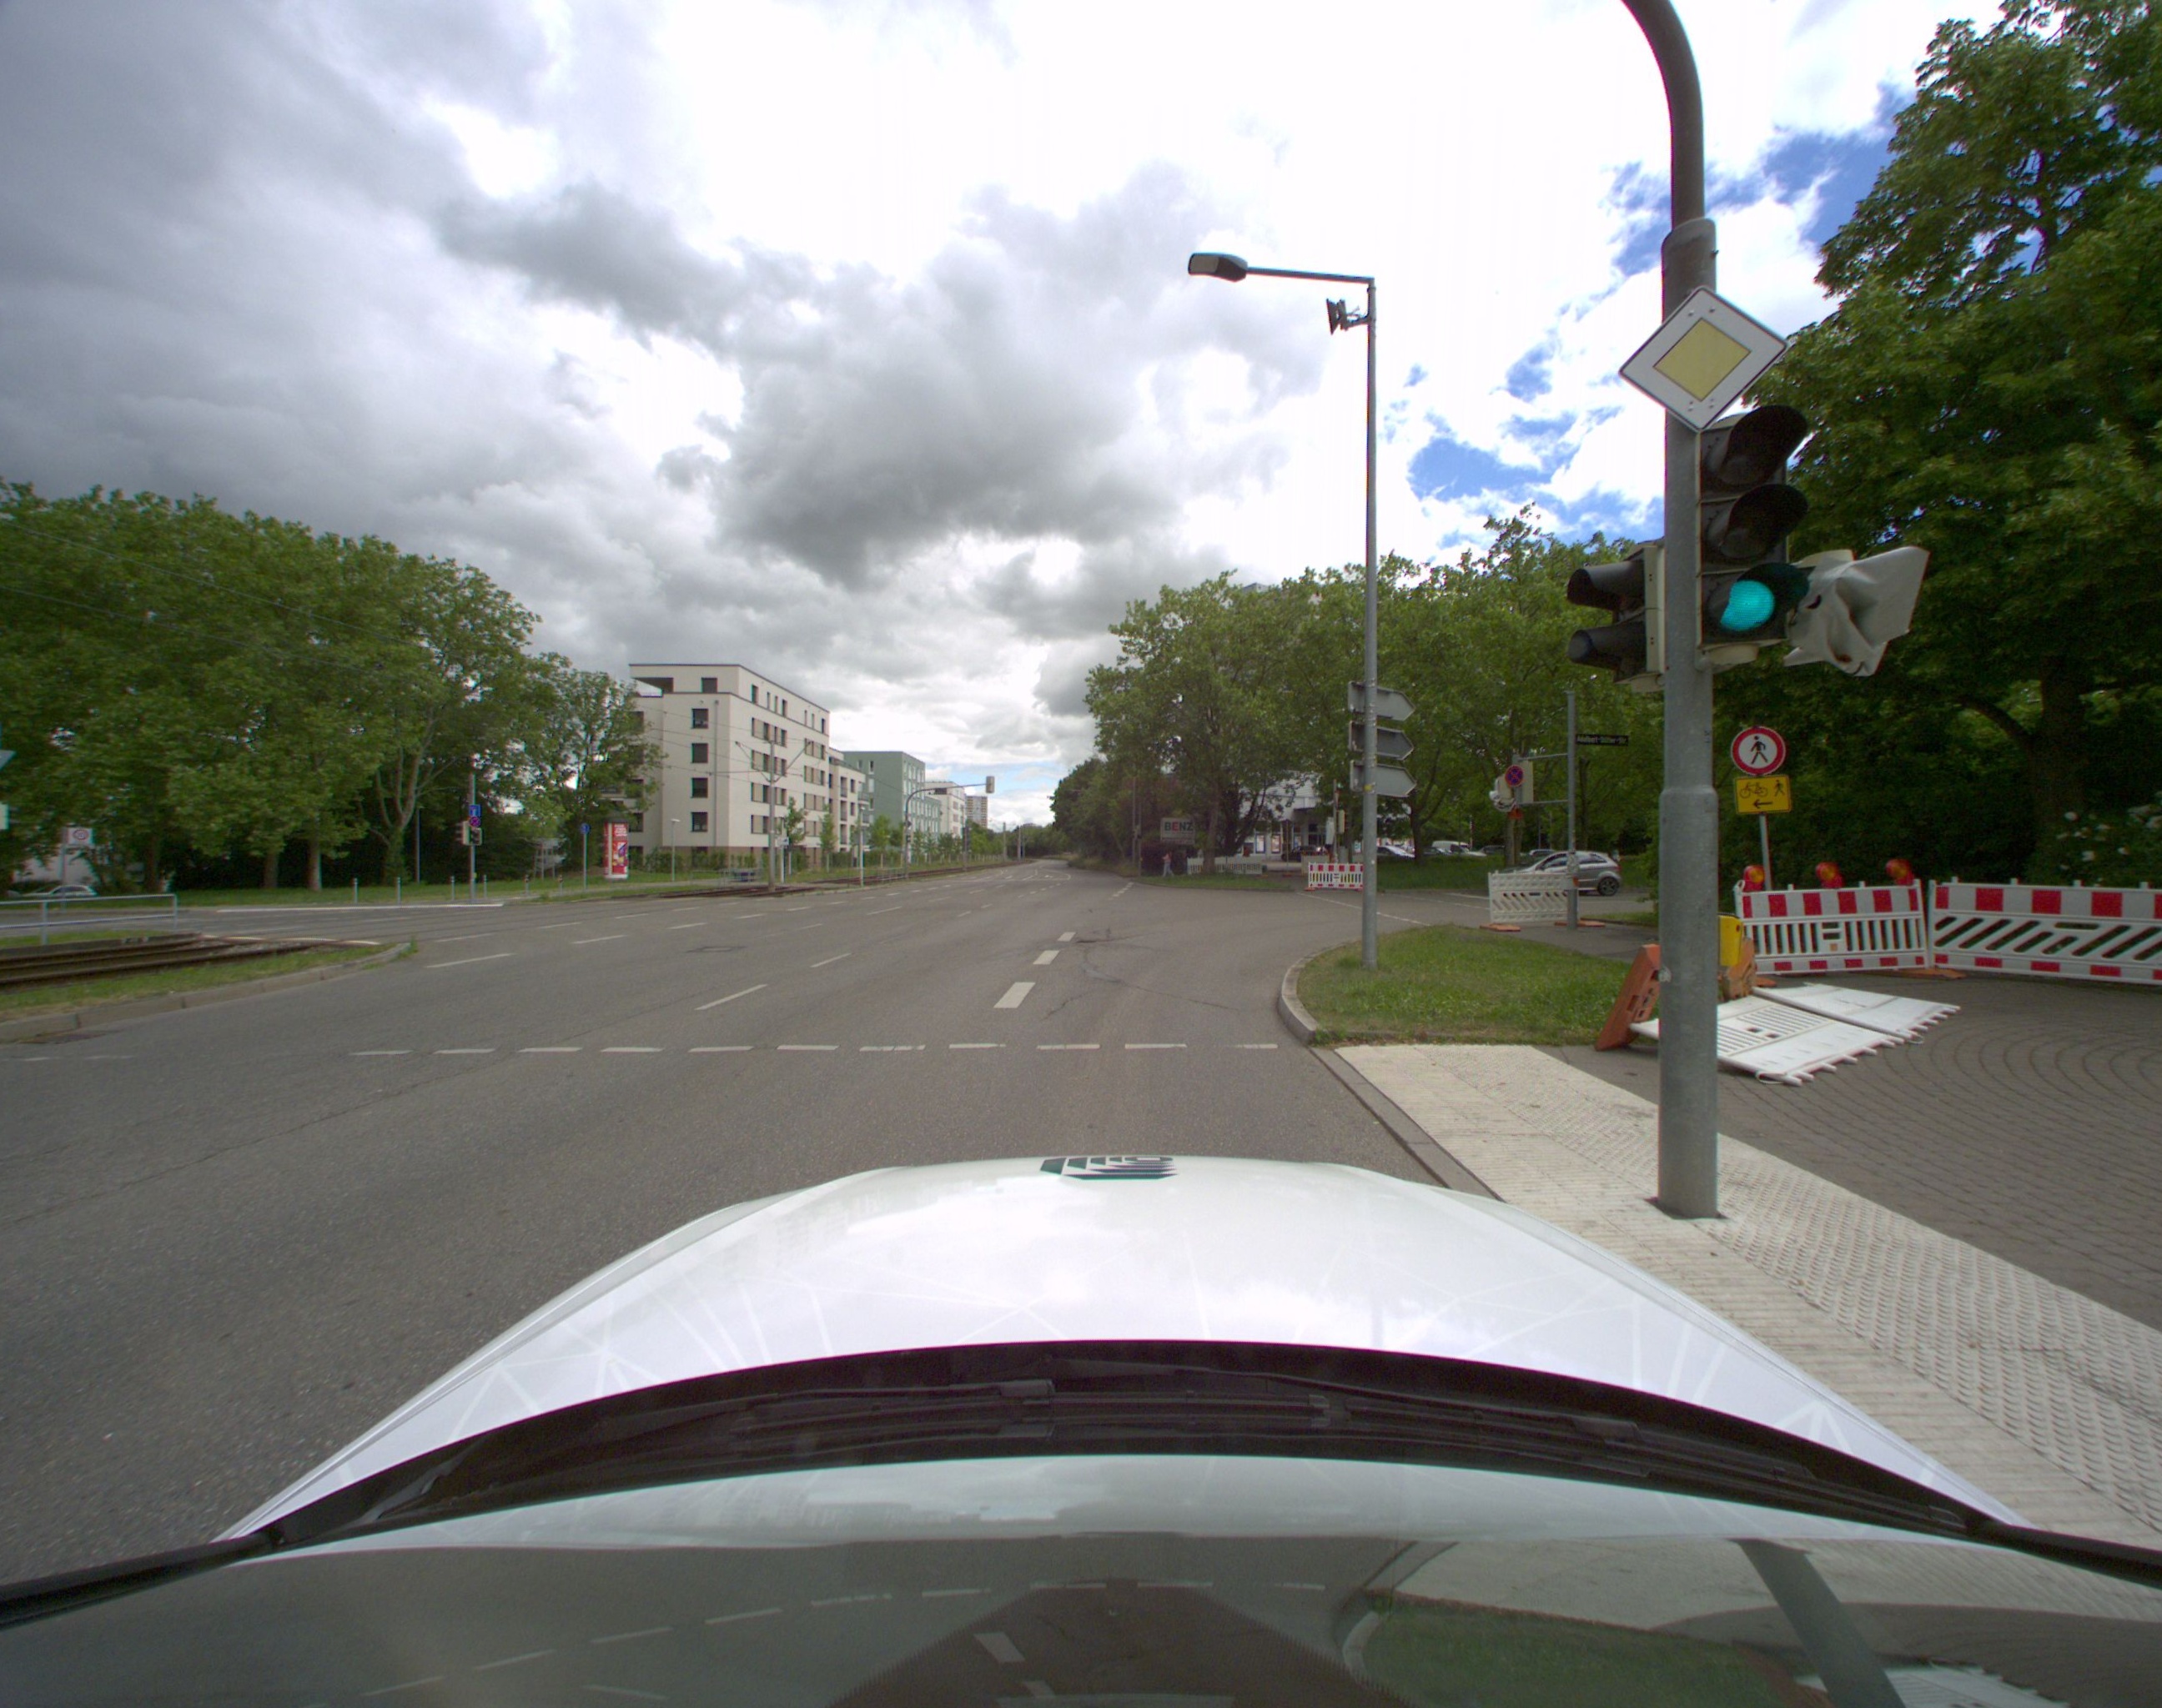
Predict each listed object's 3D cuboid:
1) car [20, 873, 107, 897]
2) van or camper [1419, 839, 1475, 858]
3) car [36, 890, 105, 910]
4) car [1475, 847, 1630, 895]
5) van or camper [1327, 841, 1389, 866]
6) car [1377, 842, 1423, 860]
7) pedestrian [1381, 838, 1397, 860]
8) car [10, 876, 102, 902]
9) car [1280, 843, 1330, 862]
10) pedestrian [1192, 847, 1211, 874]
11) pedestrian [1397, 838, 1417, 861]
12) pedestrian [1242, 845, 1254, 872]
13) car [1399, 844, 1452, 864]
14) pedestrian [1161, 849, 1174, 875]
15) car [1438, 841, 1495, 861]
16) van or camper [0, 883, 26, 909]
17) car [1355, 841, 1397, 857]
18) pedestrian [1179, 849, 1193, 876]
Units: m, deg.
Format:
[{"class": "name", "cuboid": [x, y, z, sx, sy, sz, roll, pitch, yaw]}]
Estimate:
[{"class": "car", "cuboid": [-77.251, 2.320, 61.864, 1.644, 1.729, 3.807, -1, -1, 25]}, {"class": "van or camper", "cuboid": [27.894, -0.382, 62.136, 1.522, 1.356, 3.739, 0, -1, -30]}, {"class": "car", "cuboid": [-79.877, 3.637, 64.435, 1.429, 1.344, 3.158, -1, 0, 25]}, {"class": "car", "cuboid": [16.425, 0.591, 28.532, 4.378, 1.586, 1.774, 0, -1, 3]}, {"class": "van or camper", "cuboid": [19.314, -0.023, 56.943, 1.849, 1.684, 3.968, -1, 0, -24]}, {"class": "car", "cuboid": [29.144, -0.311, 74.463, 1.677, 1.634, 3.788, 0, 0, -27]}, {"class": "pedestrian", "cuboid": [22.699, -0.348, 60.015, 0.792, 1.586, 0.798, 0, -1, -6]}, {"class": "car", "cuboid": [-72.339, 2.450, 57.573, 1.690, 1.648, 3.808, 0, 0, -1]}, {"class": "car", "cuboid": [18.528, -0.076, 67.510, 1.736, 1.500, 4.235, 0, -1, -23]}, {"class": "pedestrian", "cuboid": [6.924, 0.376, 46.969, 0.849, 1.586, 0.792, 0, -1, -13]}, {"class": "pedestrian", "cuboid": [26.939, -0.351, 67.260, 1.076, 1.871, 1.052, 0, -1, -20]}, {"class": "pedestrian", "cuboid": [9.783, 0.269, 47.626, 0.649, 1.539, 0.775, -1, -1, 10]}, {"class": "car", "cuboid": [25.197, -0.001, 59.643, 1.488, 1.404, 3.379, 0, -1, -26]}, {"class": "pedestrian", "cuboid": [4.862, 0.460, 45.937, 0.693, 1.489, 0.689, -1, -1, 8]}, {"class": "car", "cuboid": [29.959, -0.203, 63.387, 1.488, 1.465, 3.857, 0, -1, -28]}, {"class": "van or camper", "cuboid": [-67.159, 2.617, 48.561, 1.850, 1.533, 5.011, -1, 0, 3]}, {"class": "car", "cuboid": [26.409, -0.446, 72.914, 1.488, 1.404, 3.377, 0, -1, -28]}, {"class": "pedestrian", "cuboid": [5.924, 0.466, 45.935, 0.693, 1.489, 0.722, -1, -1, 9]}]
